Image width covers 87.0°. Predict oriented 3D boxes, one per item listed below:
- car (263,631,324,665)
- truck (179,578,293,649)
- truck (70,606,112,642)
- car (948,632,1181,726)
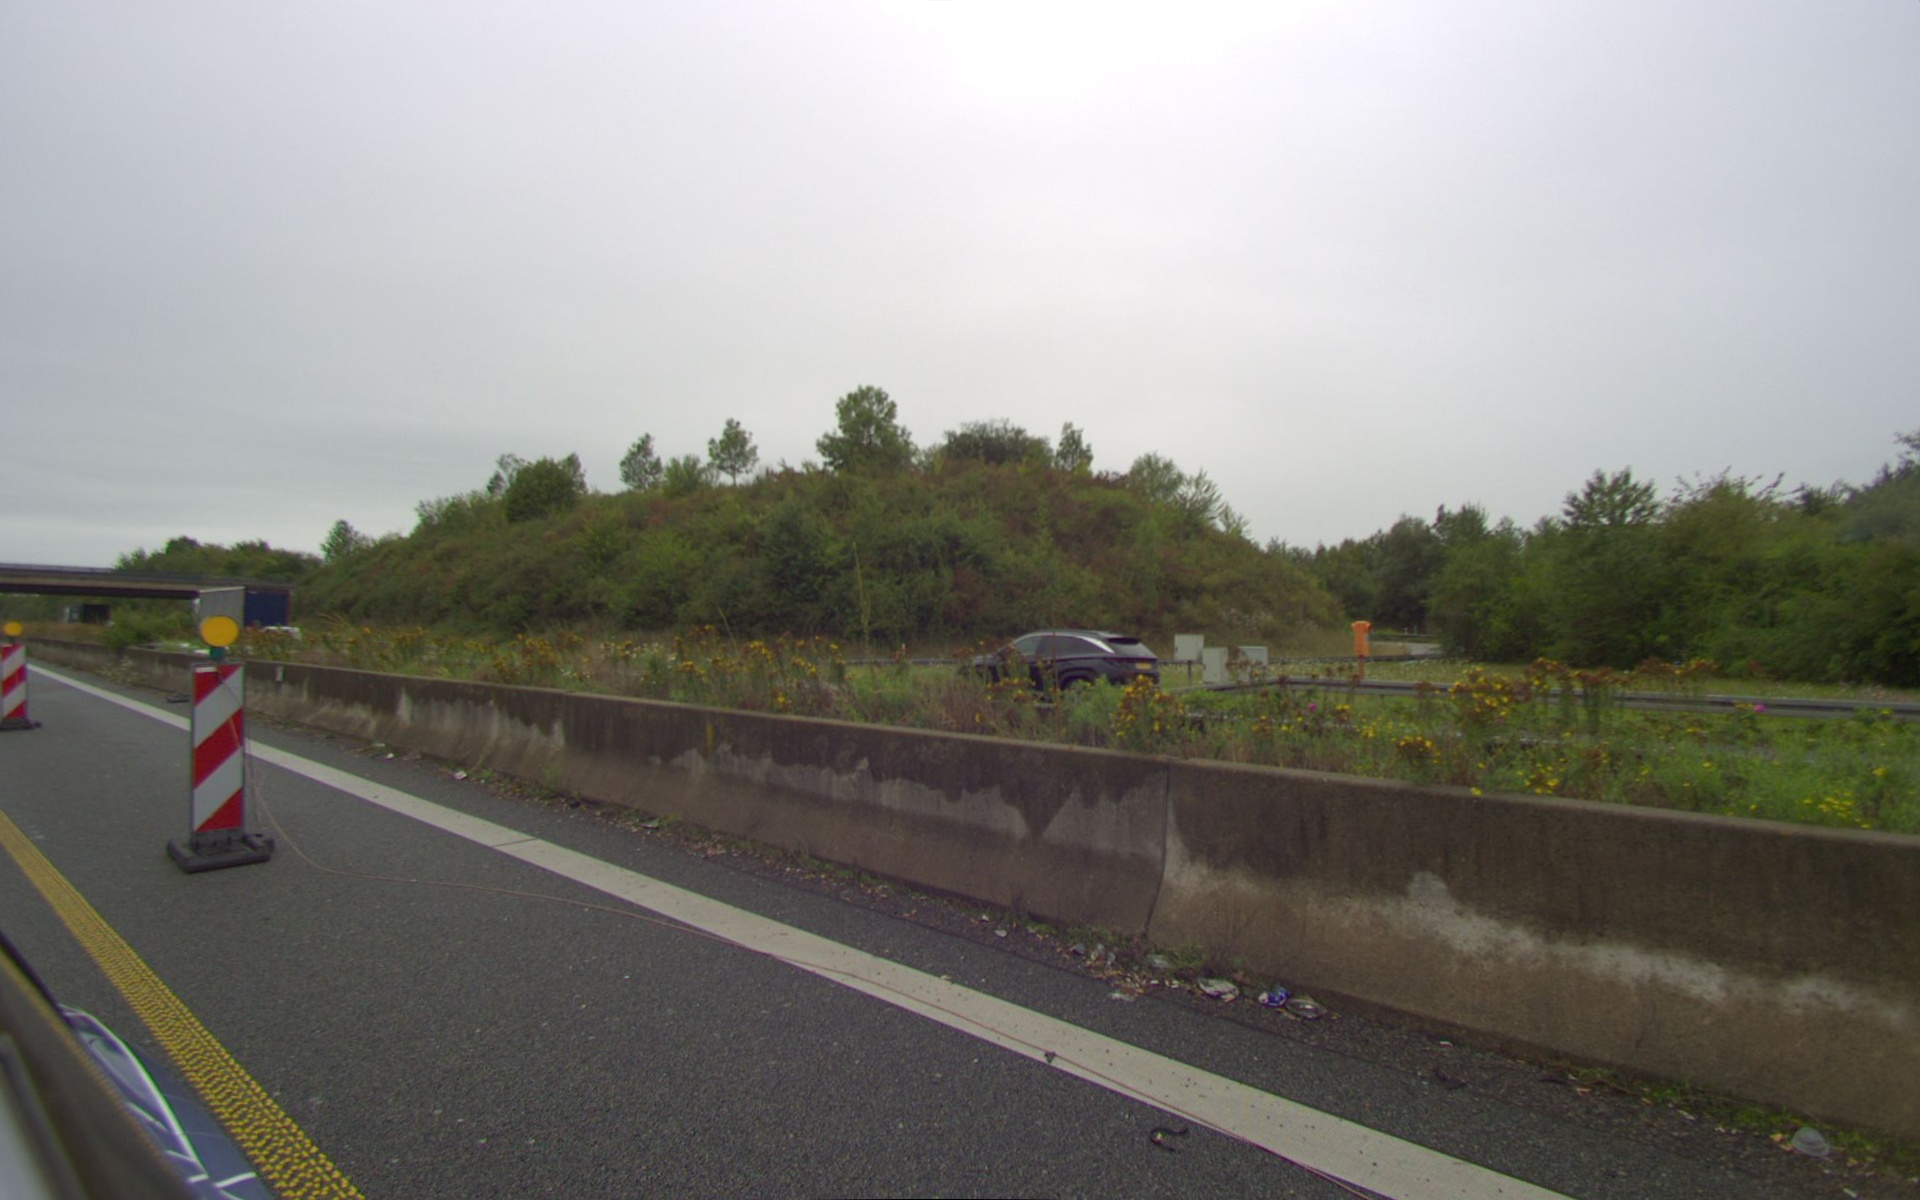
[{"bbox_3d":[-31.440,2.239,47.699,3.753,1.539,1.659,-2,-3,45],"label":"car"},{"bbox_3d":[-51.539,0.916,71.700,17.290,4.559,3.369,-1,-1,44],"label":"truck"},{"bbox_3d":[-107.795,2.904,125.390,12.518,4.277,2.646,-1,0,43],"label":"truck"},{"bbox_3d":[2.009,1.492,20.230,4.294,1.674,1.973,-2,-3,41],"label":"car"}]
